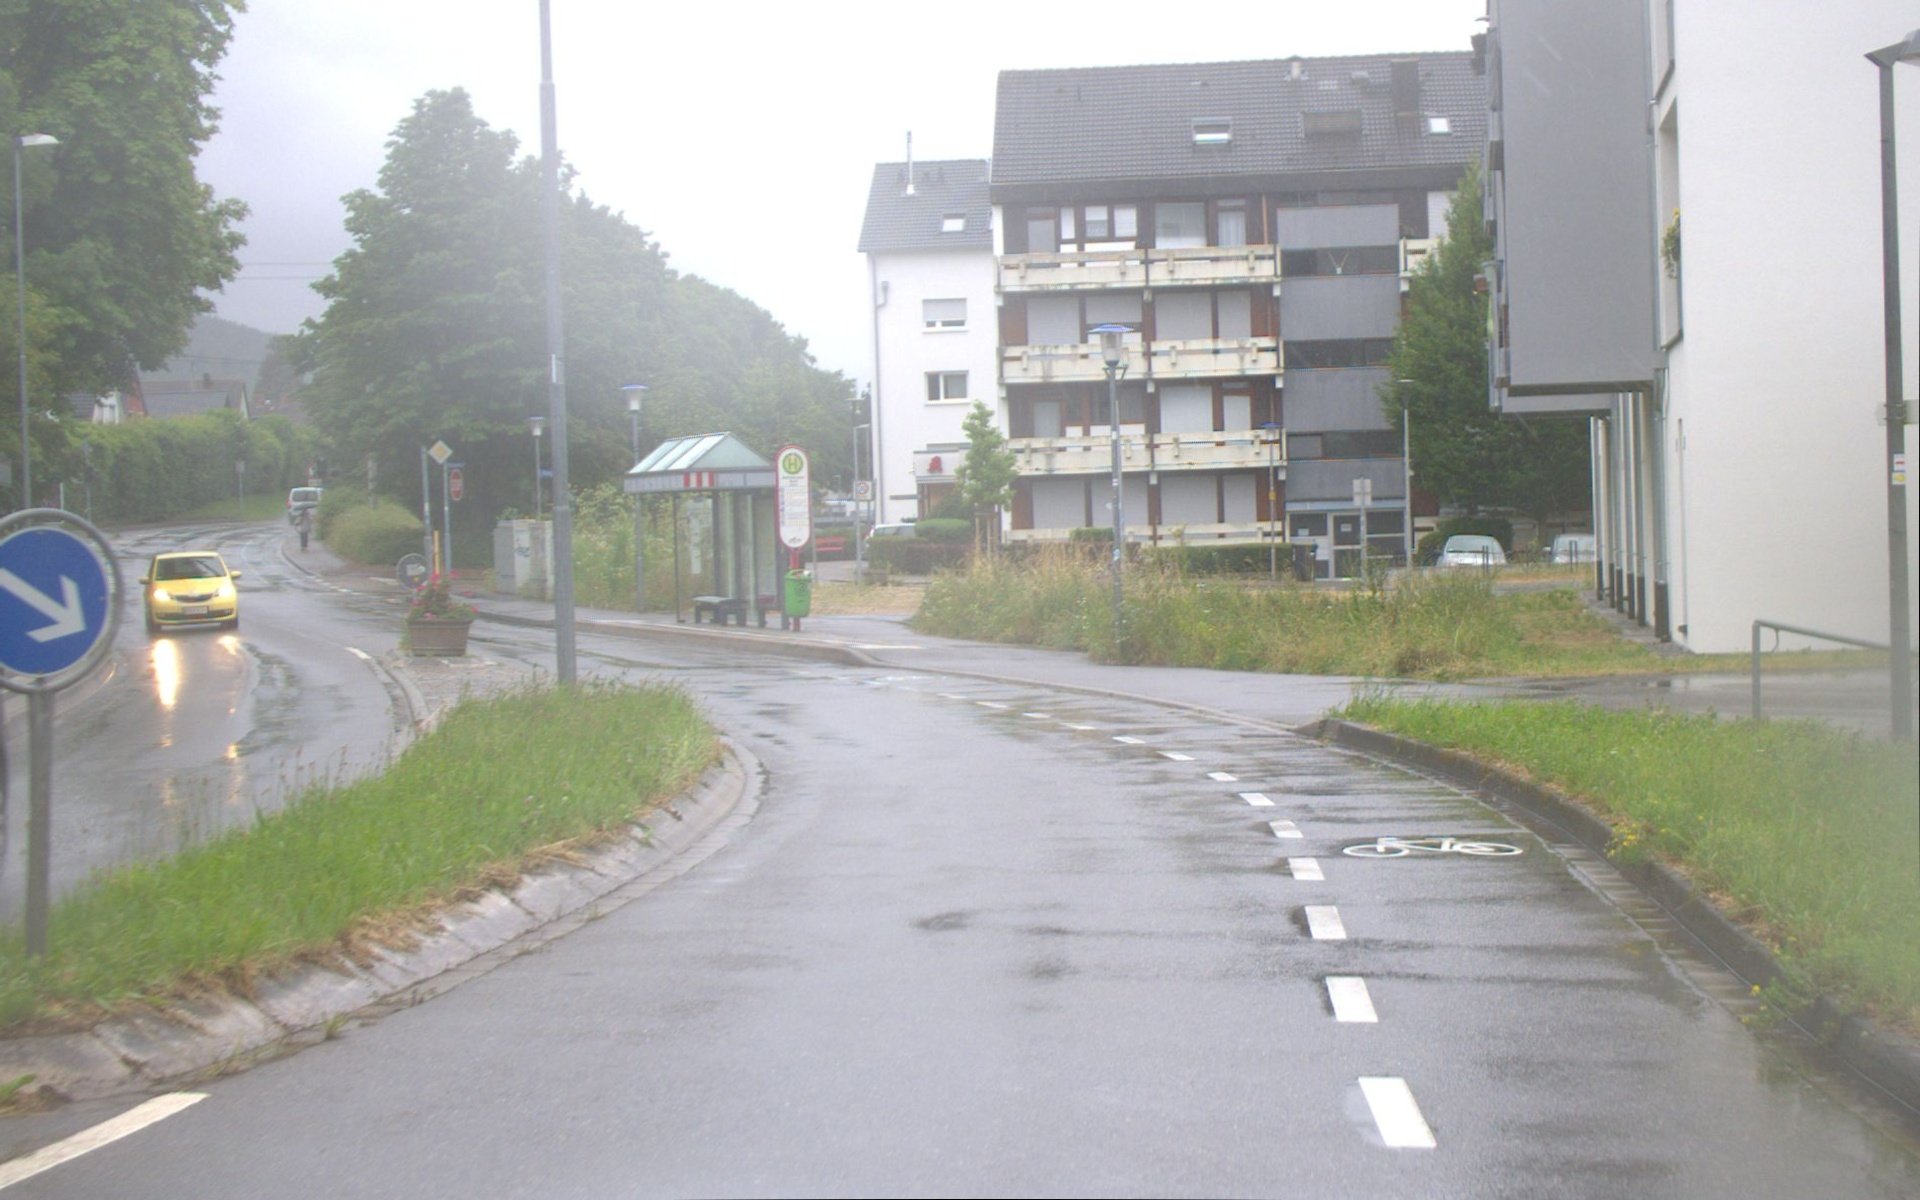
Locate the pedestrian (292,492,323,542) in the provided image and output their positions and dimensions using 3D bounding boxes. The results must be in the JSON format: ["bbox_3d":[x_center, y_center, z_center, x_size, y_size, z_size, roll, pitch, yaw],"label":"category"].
[{"bbox_3d":[-22.654,-2.877,119.385,0.919,1.669,1.057,-3,3,-13],"label":"pedestrian"}]

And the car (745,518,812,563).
[{"bbox_3d":[-6.328,-2.081,119.665,1.688,1.433,3.613,-1,3,-14],"label":"car"}]

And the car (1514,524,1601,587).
[{"bbox_3d":[14.525,-1.063,83.700,1.716,1.436,3.706,0,-1,4],"label":"car"}]

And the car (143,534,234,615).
[{"bbox_3d":[-14.682,-0.508,65.510,1.572,1.405,3.475,-3,2,-12],"label":"car"}]

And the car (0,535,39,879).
[{"bbox_3d":[-5.020,0.527,13.563,1.760,1.498,4.142,-2,1,-2],"label":"car"}]

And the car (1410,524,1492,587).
[{"bbox_3d":[11.985,-1.075,84.092,1.716,1.436,3.706,0,-1,4],"label":"car"}]
